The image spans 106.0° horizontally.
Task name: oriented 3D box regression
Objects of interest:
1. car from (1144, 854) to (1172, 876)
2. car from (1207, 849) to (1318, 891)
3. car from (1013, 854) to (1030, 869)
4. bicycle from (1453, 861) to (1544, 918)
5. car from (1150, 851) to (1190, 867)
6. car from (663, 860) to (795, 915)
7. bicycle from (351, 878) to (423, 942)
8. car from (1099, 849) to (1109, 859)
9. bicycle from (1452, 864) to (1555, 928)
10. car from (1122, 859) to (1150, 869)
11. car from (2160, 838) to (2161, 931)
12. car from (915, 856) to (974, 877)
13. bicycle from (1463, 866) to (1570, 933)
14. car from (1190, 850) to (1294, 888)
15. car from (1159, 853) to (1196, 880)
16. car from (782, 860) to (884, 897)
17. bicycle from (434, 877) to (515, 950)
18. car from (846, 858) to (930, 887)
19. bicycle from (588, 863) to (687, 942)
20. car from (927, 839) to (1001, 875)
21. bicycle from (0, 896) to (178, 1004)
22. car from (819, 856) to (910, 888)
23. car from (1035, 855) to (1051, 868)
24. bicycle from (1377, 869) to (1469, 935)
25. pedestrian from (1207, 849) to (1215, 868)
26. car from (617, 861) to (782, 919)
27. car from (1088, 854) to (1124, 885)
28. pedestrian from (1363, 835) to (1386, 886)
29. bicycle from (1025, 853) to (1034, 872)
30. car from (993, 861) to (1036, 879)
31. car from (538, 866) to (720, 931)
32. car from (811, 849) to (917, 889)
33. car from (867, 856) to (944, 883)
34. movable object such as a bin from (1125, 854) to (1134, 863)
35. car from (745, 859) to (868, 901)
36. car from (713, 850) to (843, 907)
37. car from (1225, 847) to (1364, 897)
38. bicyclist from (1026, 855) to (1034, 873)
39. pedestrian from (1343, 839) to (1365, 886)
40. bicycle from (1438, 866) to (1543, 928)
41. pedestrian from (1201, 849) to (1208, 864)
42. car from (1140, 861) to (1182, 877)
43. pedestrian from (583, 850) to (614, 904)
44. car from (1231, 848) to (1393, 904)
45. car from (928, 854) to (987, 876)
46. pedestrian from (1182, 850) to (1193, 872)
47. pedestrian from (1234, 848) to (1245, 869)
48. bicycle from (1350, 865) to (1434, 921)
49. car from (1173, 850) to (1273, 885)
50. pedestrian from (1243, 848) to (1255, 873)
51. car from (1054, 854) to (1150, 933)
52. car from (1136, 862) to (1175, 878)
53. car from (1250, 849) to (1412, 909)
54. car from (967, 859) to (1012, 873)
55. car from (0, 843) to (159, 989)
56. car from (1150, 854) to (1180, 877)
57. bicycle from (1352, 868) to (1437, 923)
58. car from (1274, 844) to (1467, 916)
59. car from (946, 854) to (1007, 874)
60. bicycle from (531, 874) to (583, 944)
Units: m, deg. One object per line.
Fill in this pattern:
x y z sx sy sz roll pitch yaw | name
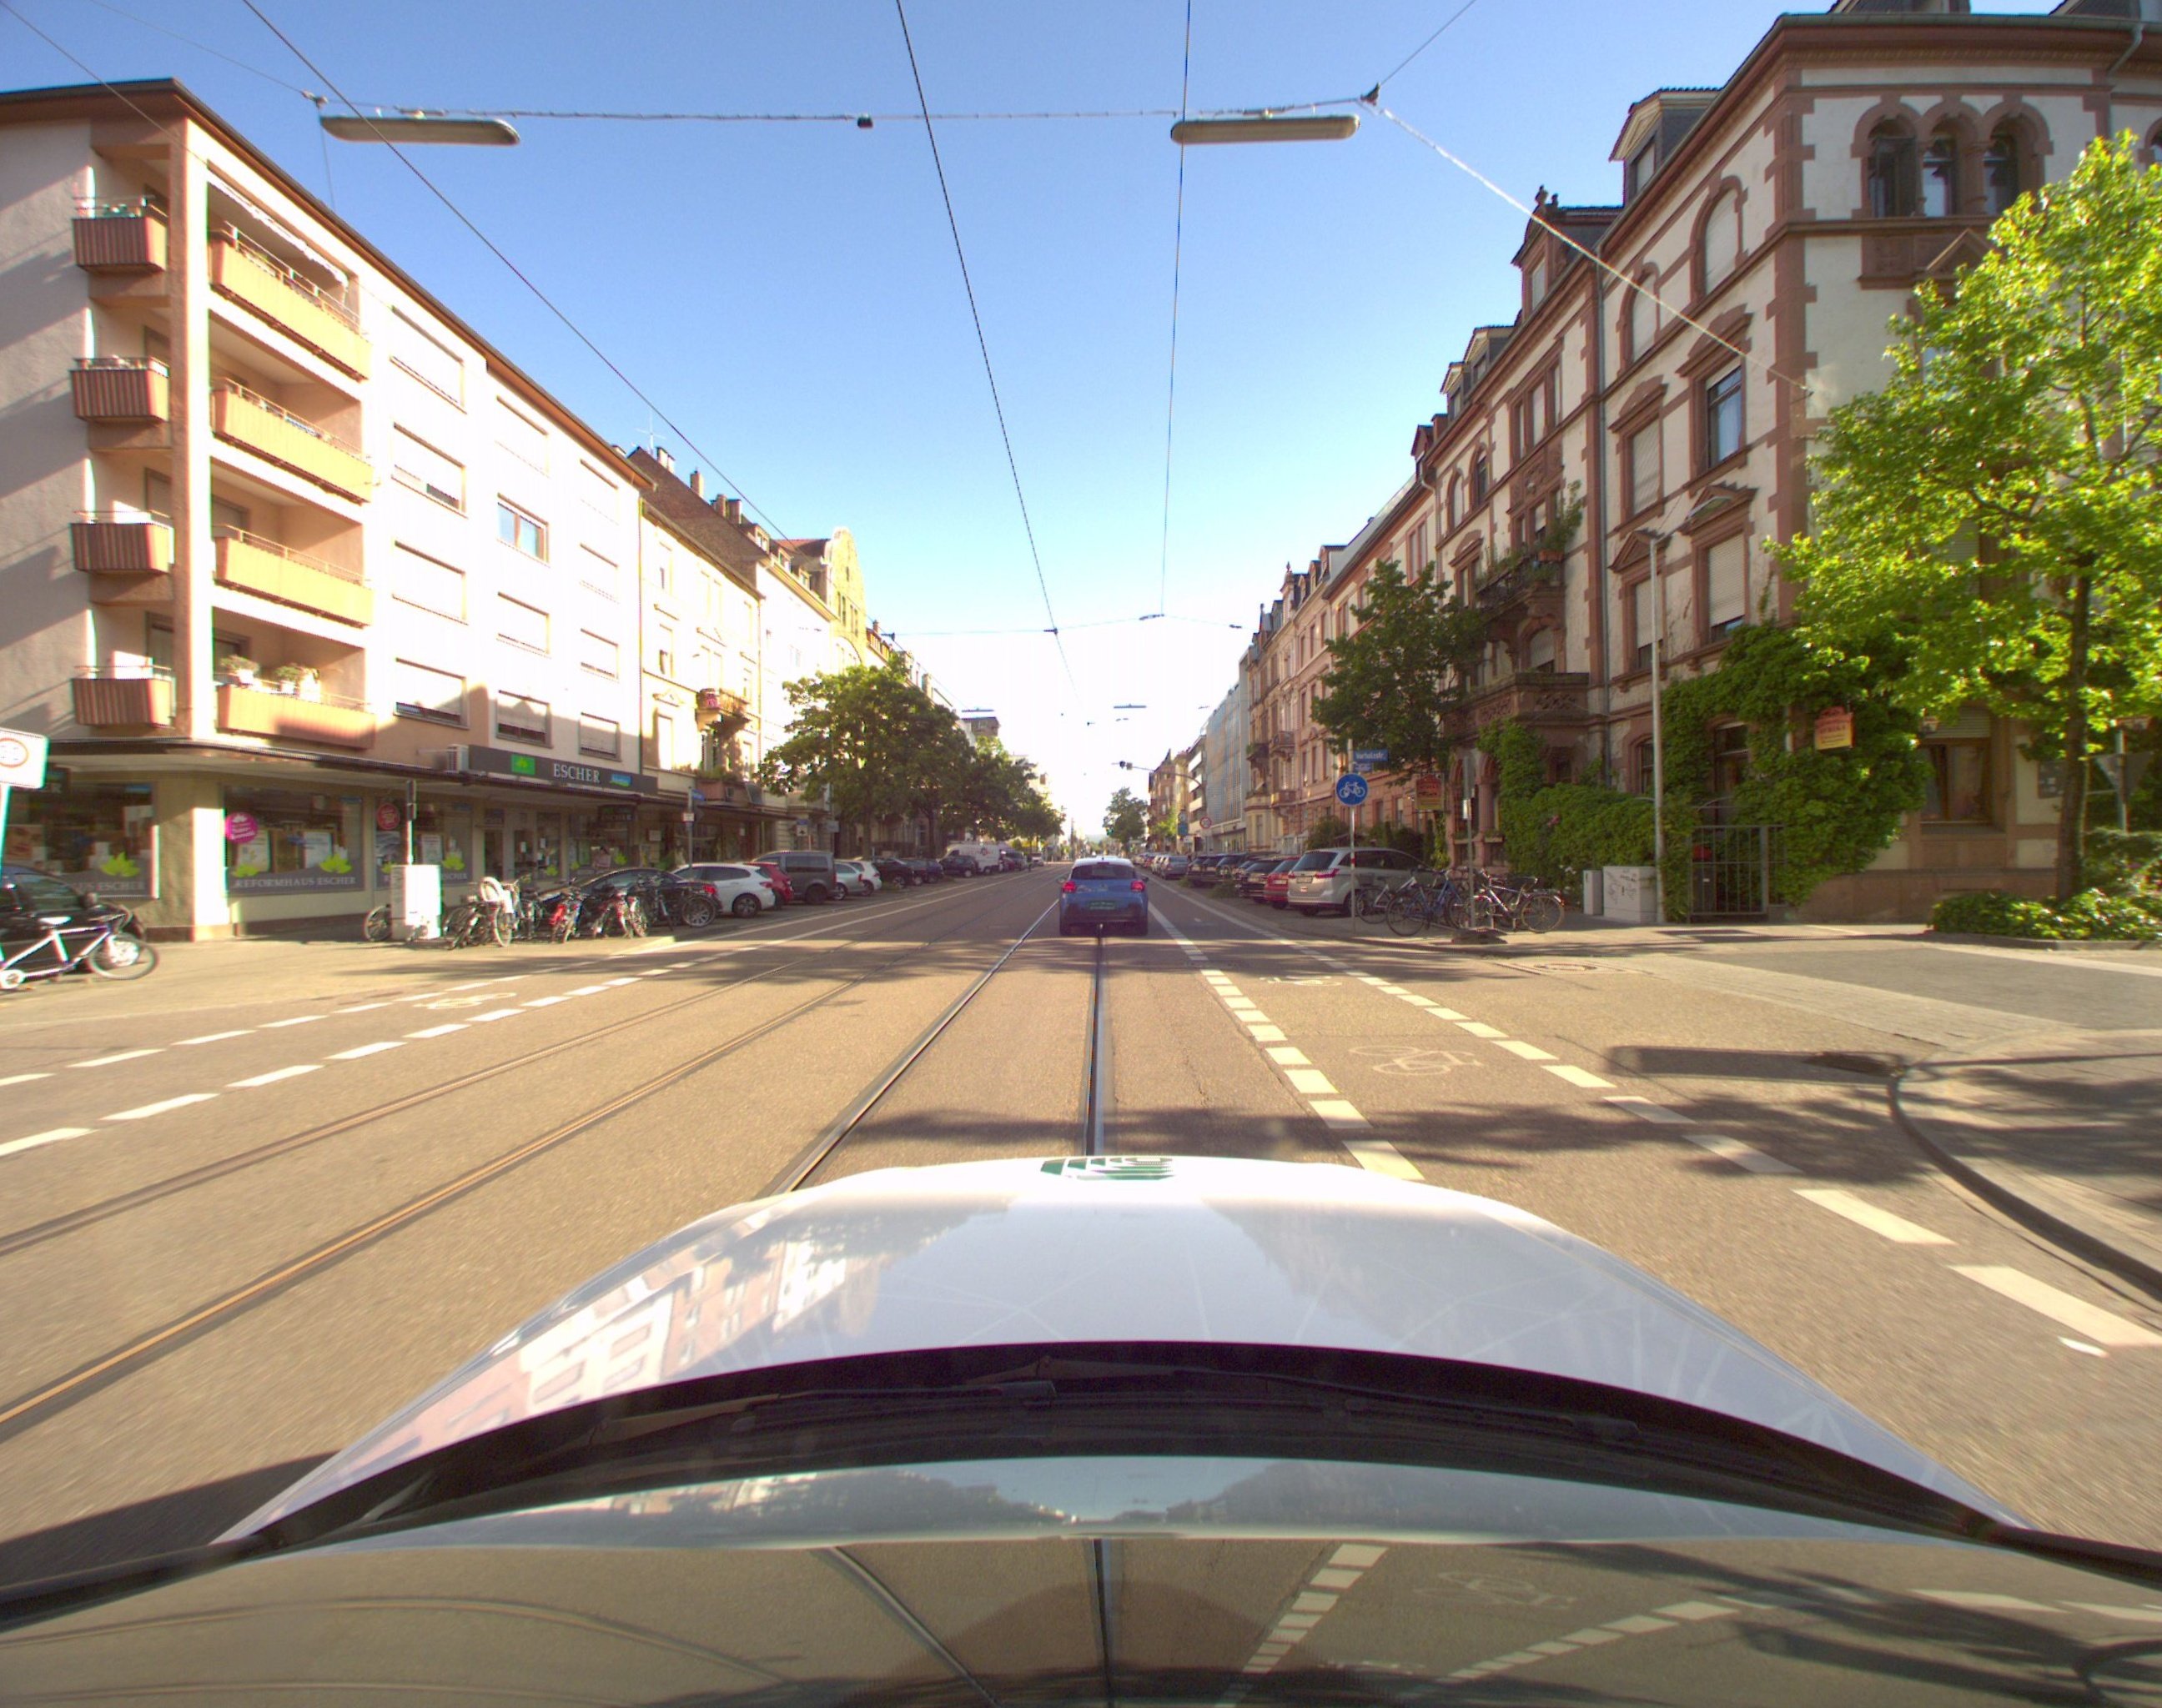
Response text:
5.839 0.811 61.850 1.866 1.596 4.002 0 0 2 | car
7.298 0.609 32.836 4.004 1.596 1.944 0 -1 -23 | car
-6.866 0.875 93.990 1.742 1.618 4.408 0 0 -2 | car
8.434 0.700 16.484 1.547 1.127 0.552 0 -1 7 | bicycle
9.268 0.504 84.777 3.743 1.652 2.027 0 -1 -32 | car
-10.451 0.936 24.215 3.479 1.473 1.634 -1 0 -28 | car
-13.152 1.033 15.471 0.404 1.109 1.825 -1 -1 -19 | bicycle
3.393 0.056 120.215 1.417 1.432 3.140 0 0 2 | car
7.571 0.739 14.643 1.547 1.127 0.529 0 -1 7 | bicycle
7.966 1.433 118.793 3.664 1.534 1.778 0 -1 -18 | car
18.849 0.472 11.829 3.971 1.453 1.713 0 -1 2 | car
-9.724 0.882 57.917 3.994 1.489 1.797 0 -1 -15 | car
7.495 0.770 14.065 1.547 1.127 0.552 0 -1 7 | bicycle
7.028 0.626 35.516 4.004 1.596 2.071 0 -1 -23 | car
5.937 0.749 50.609 1.866 1.596 4.721 0 0 2 | car
-10.166 0.973 33.411 3.850 1.430 1.752 0 -1 -25 | car
-11.084 1.034 14.852 2.405 1.109 0.688 2 3 42 | bicycle
-10.272 0.953 43.479 4.013 1.489 1.788 0 -1 -31 | car
-8.633 0.889 15.987 0.680 1.319 2.434 0 2 -2 | bicycle
-9.083 0.244 63.365 5.402 2.749 1.789 0 -1 -29 | car
-13.290 1.207 10.510 0.680 1.109 2.432 0 2 -5 | bicycle
-10.695 0.850 40.323 4.013 1.489 1.849 0 -1 -31 | car
-5.282 1.034 112.818 1.825 1.848 4.215 0 0 2 | car
5.994 0.833 14.319 1.392 1.127 0.551 0 -1 1 | bicycle
12.371 0.418 77.455 0.690 1.756 0.678 0 -1 1 | pedestrian
-10.032 0.881 21.472 3.804 1.400 1.737 0 -1 -32 | car
1.376 0.804 44.367 1.866 1.596 4.002 0 0 2 | car
10.430 0.227 28.934 0.516 1.778 0.864 0 -1 2 | pedestrian
-4.777 0.780 75.833 0.678 1.678 2.097 0 0 2 | bicycle
-6.409 1.538 78.478 3.736 1.622 1.777 0 -1 -20 | car
-10.243 0.947 18.548 3.483 1.337 1.608 0 -1 -33 | car
-10.044 0.665 37.723 4.381 1.783 1.976 0 -1 -31 | car
-10.003 0.873 46.513 4.008 1.489 1.790 0 -1 -27 | car
7.698 0.714 128.914 1.389 1.483 1.656 0 -1 1 | movable object such as a bin
-10.109 0.919 30.051 4.032 1.449 1.682 0 -1 -31 | car
-10.097 0.783 27.181 3.835 1.785 1.779 0 -1 -31 | car
7.353 0.589 28.055 4.337 1.596 2.029 0 -1 -23 | car
-4.760 0.909 75.974 0.632 1.681 0.727 0 -1 1 | bicyclist
9.741 0.307 29.058 0.516 1.648 0.864 0 -1 2 | pedestrian
7.625 0.786 15.221 1.665 1.127 0.552 0 -1 7 | bicycle
13.558 0.259 89.161 0.690 1.588 0.678 0 -1 1 | pedestrian
7.775 1.462 79.104 3.743 1.521 1.949 0 -1 -32 | car
-14.803 0.692 24.995 0.567 1.652 0.641 0 -1 1 | pedestrian
7.021 0.626 24.807 4.454 1.596 2.072 0 -1 -23 | car
-9.092 0.803 60.006 4.005 1.618 1.699 0 -1 -24 | car
7.647 0.500 58.393 0.709 1.607 0.654 0 -1 0 | pedestrian
12.098 0.338 62.057 0.709 1.607 0.654 0 -1 0 | pedestrian
6.288 0.785 16.497 1.551 1.127 0.295 0 -1 7 | bicycle
6.709 0.615 38.428 4.321 1.596 1.967 0 -1 -23 | car
11.097 0.444 53.802 0.709 1.607 0.654 0 -1 0 | pedestrian
0.427 0.734 16.745 1.756 1.441 3.557 0 0 1 | car
7.451 1.622 81.639 3.463 1.555 1.806 0 -1 -30 | car
6.879 0.642 22.454 4.004 1.536 1.904 0 -1 -23 | car
-8.337 1.046 74.030 3.815 1.265 1.504 0 -1 -24 | car
-15.301 0.884 10.938 1.849 1.817 4.330 -3 4 -19 | car
5.855 0.789 57.060 1.866 1.596 4.002 0 0 2 | car
6.201 0.817 16.161 1.547 1.079 0.308 0 -1 7 | bicycle
7.043 0.585 19.820 4.370 1.596 1.839 0 -1 -23 | car
-8.694 0.817 67.964 4.786 1.618 1.695 0 -1 -31 | car
-9.961 1.011 15.532 0.685 1.123 1.870 -1 2 -29 | bicycle
